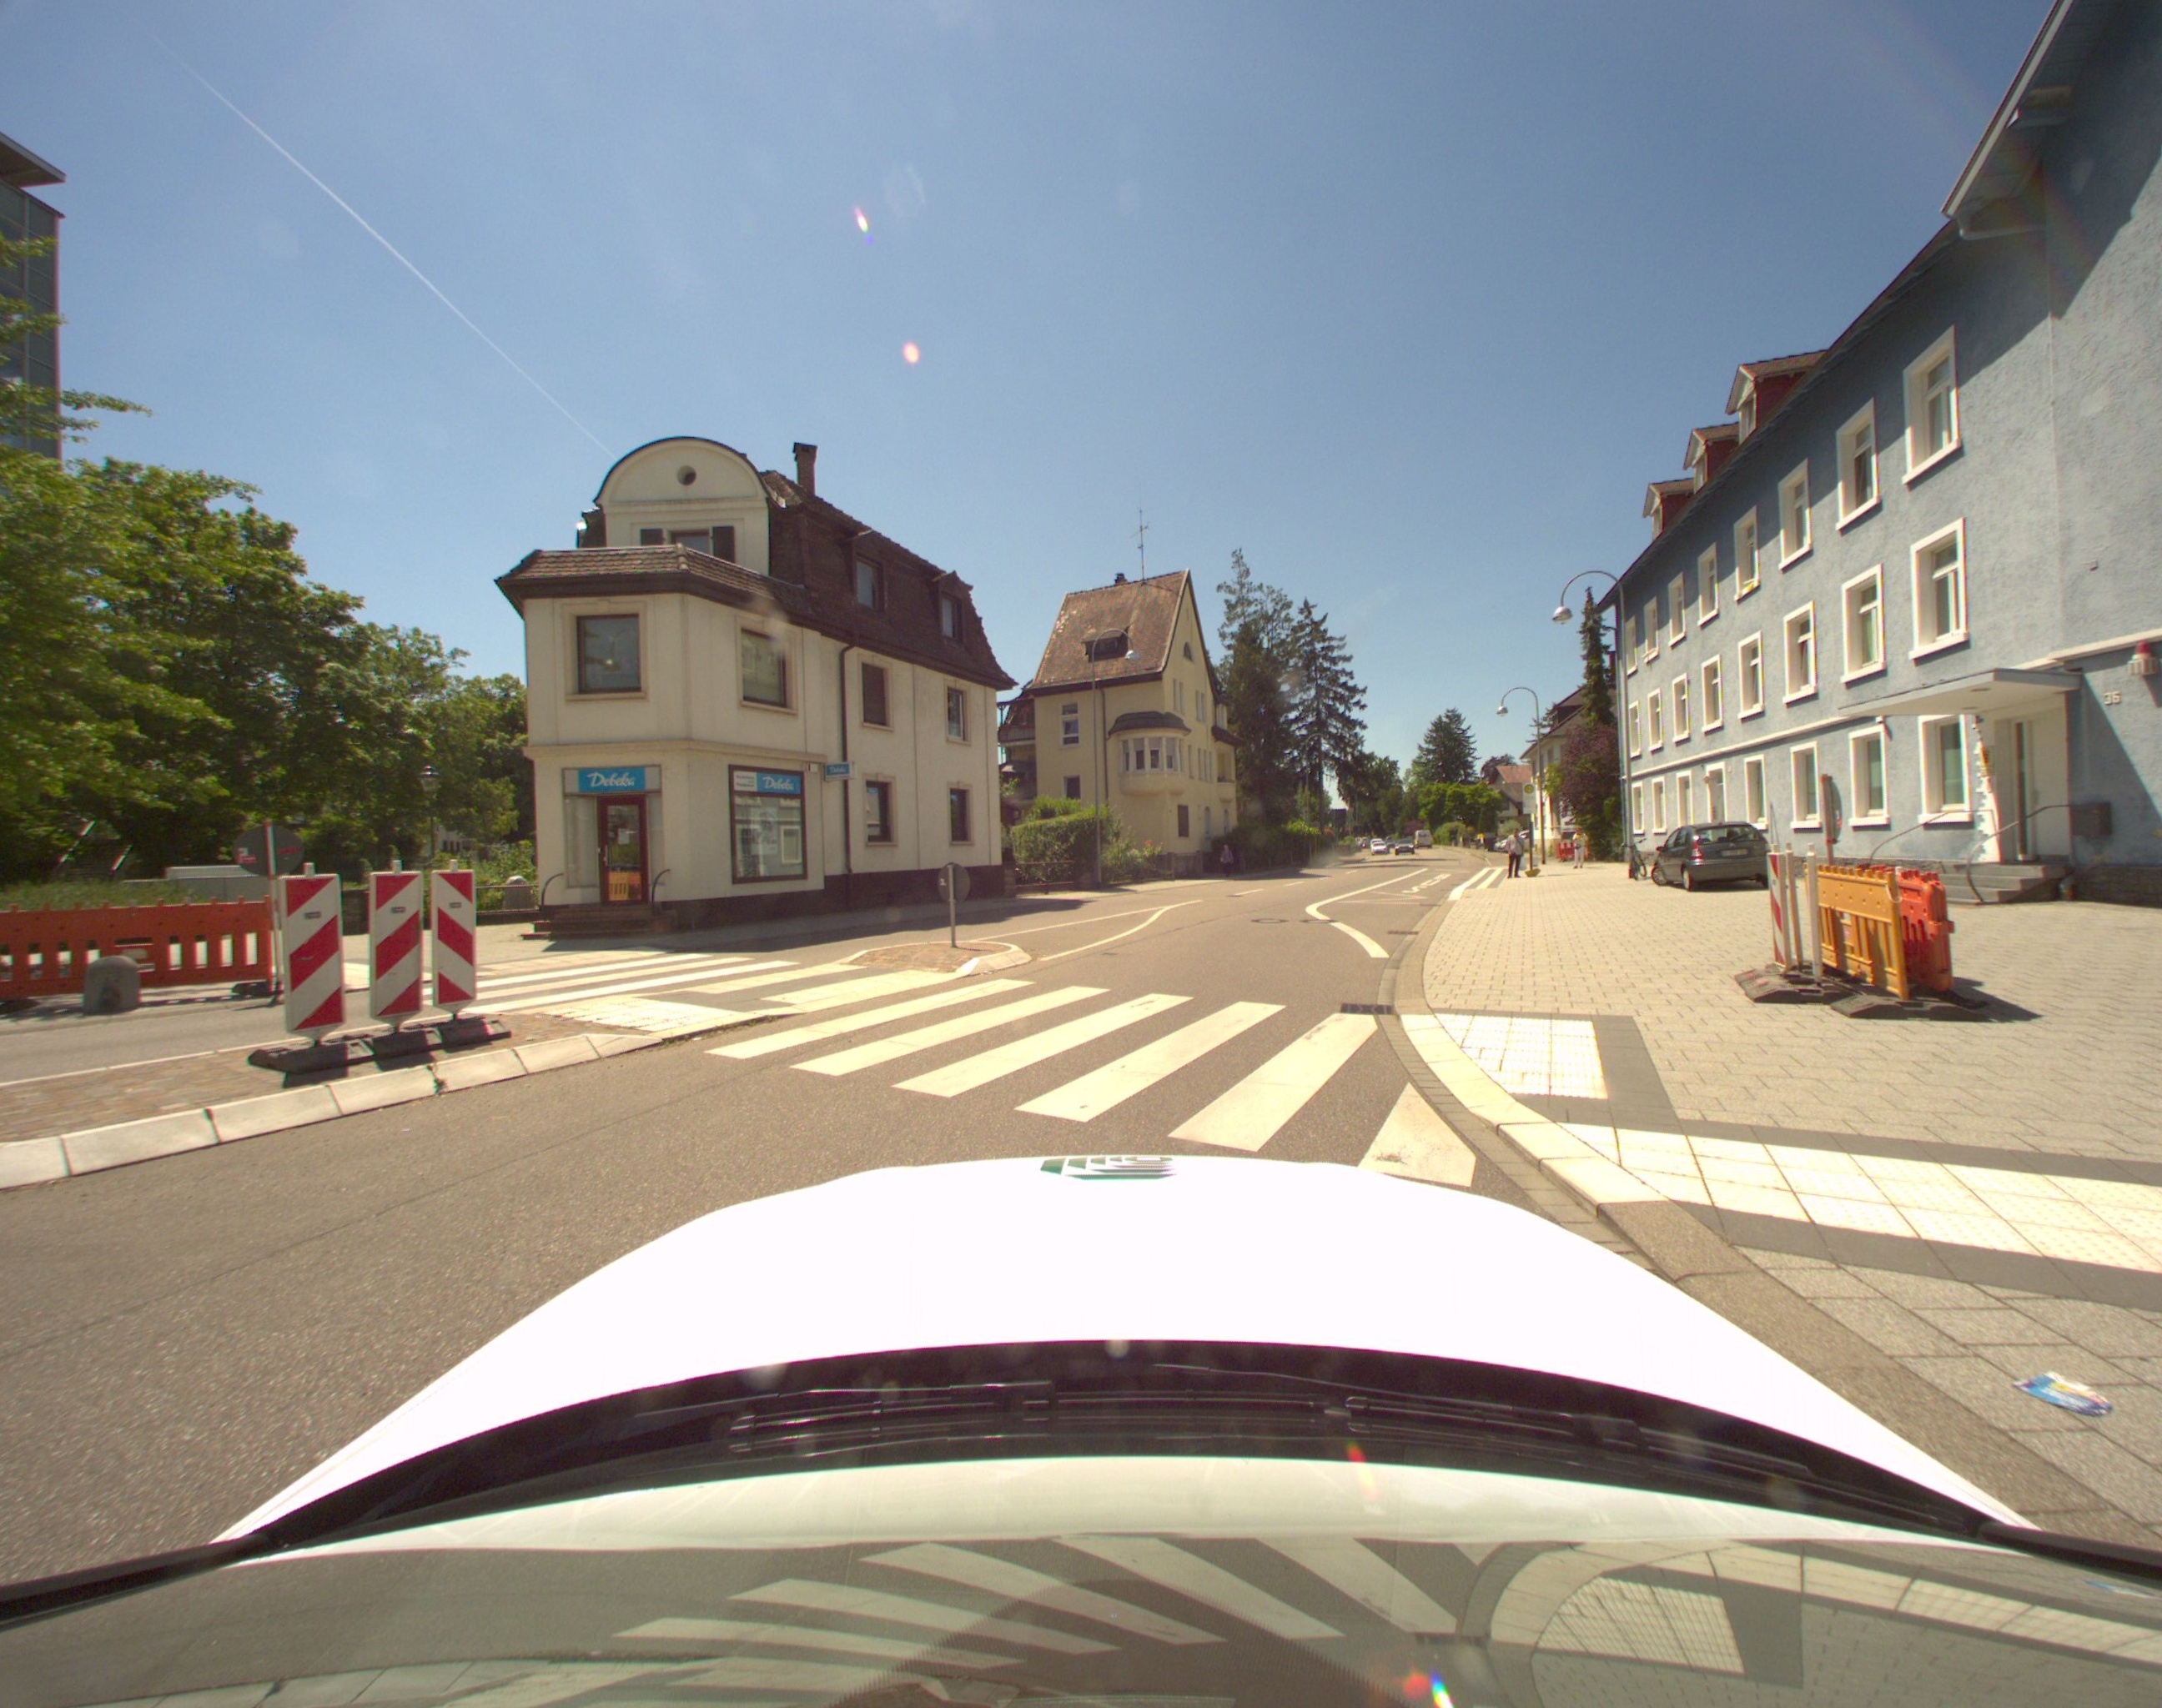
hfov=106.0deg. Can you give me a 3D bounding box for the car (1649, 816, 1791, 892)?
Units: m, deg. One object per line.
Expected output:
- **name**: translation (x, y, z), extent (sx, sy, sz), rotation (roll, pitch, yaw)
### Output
- **car**: translation (14.847, -0.041, 19.133), extent (1.625, 1.507, 3.583), rotation (-5, 0, 22)

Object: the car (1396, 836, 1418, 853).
- **car**: translation (33.355, -0.981, 83.227), extent (1.976, 1.717, 4.022), rotation (-1, 0, 22)

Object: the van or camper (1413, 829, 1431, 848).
- **van or camper**: translation (47.485, -2.133, 113.485), extent (2.187, 2.610, 4.021), rotation (-1, 0, 21)

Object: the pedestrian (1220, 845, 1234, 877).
- **pedestrian**: translation (7.027, 0.323, 39.179), extent (0.518, 1.509, 0.476), rotation (-2, 0, 28)

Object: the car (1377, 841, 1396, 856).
- **car**: translation (36.370, -0.637, 96.917), extent (1.976, 1.651, 4.021), rotation (-1, 0, 21)

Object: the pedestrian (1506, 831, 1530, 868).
- **pedestrian**: translation (16.116, -0.160, 30.034), extent (0.660, 1.286, 0.591), rotation (-6, -1, 30)

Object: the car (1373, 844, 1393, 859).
- **car**: translation (33.903, -0.306, 91.255), extent (1.976, 1.651, 4.021), rotation (-1, 0, 21)

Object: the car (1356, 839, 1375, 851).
- **car**: translation (48.606, -1.477, 139.251), extent (1.984, 2.013, 4.005), rotation (-1, 0, 5)

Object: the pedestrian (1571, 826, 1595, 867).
- **pedestrian**: translation (20.252, -0.305, 32.851), extent (0.660, 1.594, 0.591), rotation (-6, -1, 30)

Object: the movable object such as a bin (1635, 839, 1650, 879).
- **movable object such as a bin**: translation (16.193, 0.143, 23.494), extent (0.280, 1.123, 1.193), rotation (-4, -1, 33)

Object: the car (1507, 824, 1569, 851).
- **car**: translation (36.662, -1.345, 65.377), extent (3.956, 2.013, 2.009), rotation (-1, 0, 16)

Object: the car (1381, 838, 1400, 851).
- **car**: translation (49.079, -1.491, 129.212), extent (1.982, 2.013, 4.009), rotation (-1, 0, 8)
